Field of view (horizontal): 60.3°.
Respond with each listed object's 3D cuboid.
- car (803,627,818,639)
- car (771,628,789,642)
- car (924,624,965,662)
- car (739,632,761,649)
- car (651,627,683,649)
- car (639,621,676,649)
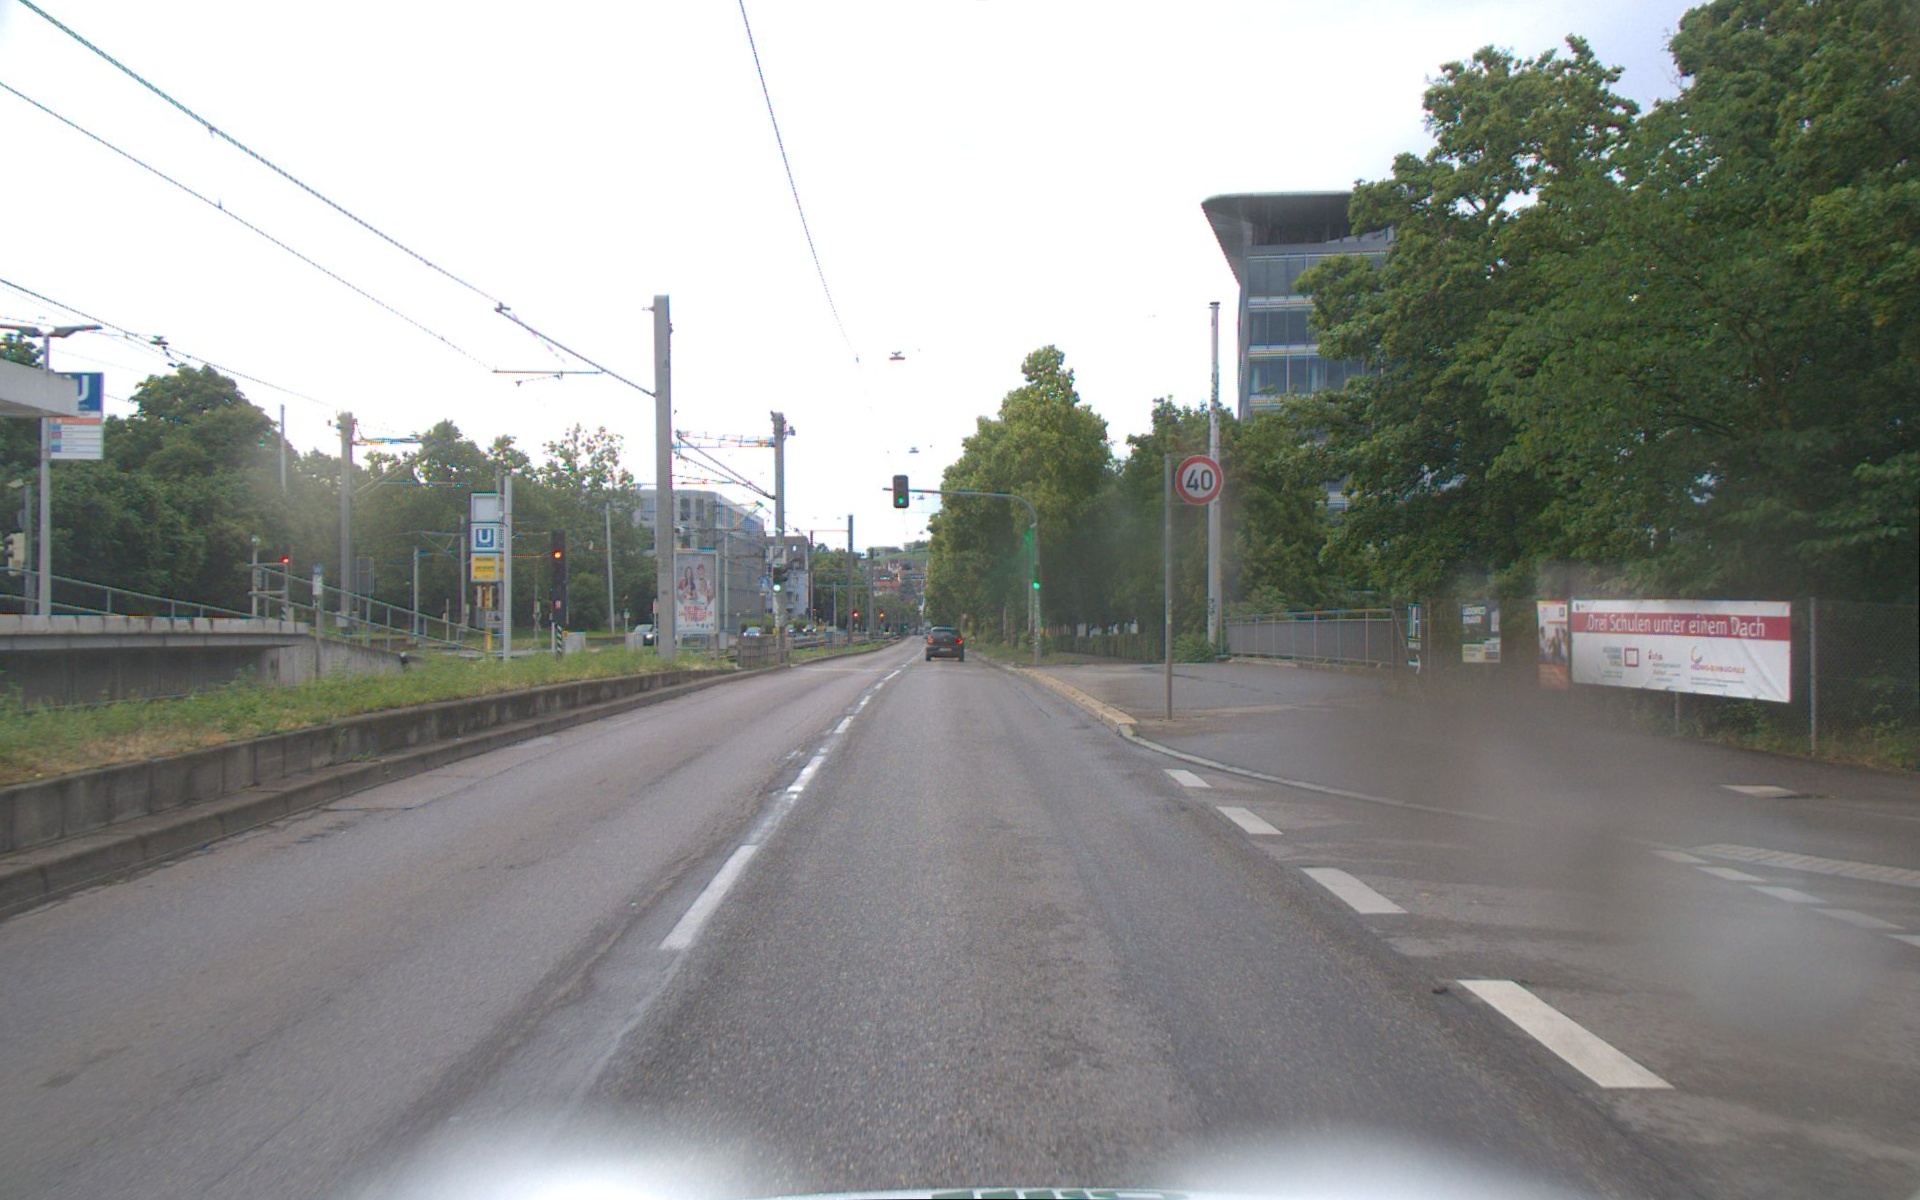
[{"bbox_3d":[-22.160,4.874,245.000,1.618,1.660,3.611,2,1,4],"label":"car"},{"bbox_3d":[-23.846,4.599,219.098,1.811,1.660,3.611,2,1,4],"label":"car"},{"bbox_3d":[-0.691,1.822,70.929,1.692,1.568,3.999,0,-1,-1],"label":"car"},{"bbox_3d":[-23.847,4.607,188.059,1.811,1.660,3.611,2,1,4],"label":"car"},{"bbox_3d":[-25.260,3.296,142.670,1.811,1.660,3.814,2,1,4],"label":"car"},{"bbox_3d":[-20.379,2.343,111.607,1.632,1.660,3.305,2,1,4],"label":"car"}]
